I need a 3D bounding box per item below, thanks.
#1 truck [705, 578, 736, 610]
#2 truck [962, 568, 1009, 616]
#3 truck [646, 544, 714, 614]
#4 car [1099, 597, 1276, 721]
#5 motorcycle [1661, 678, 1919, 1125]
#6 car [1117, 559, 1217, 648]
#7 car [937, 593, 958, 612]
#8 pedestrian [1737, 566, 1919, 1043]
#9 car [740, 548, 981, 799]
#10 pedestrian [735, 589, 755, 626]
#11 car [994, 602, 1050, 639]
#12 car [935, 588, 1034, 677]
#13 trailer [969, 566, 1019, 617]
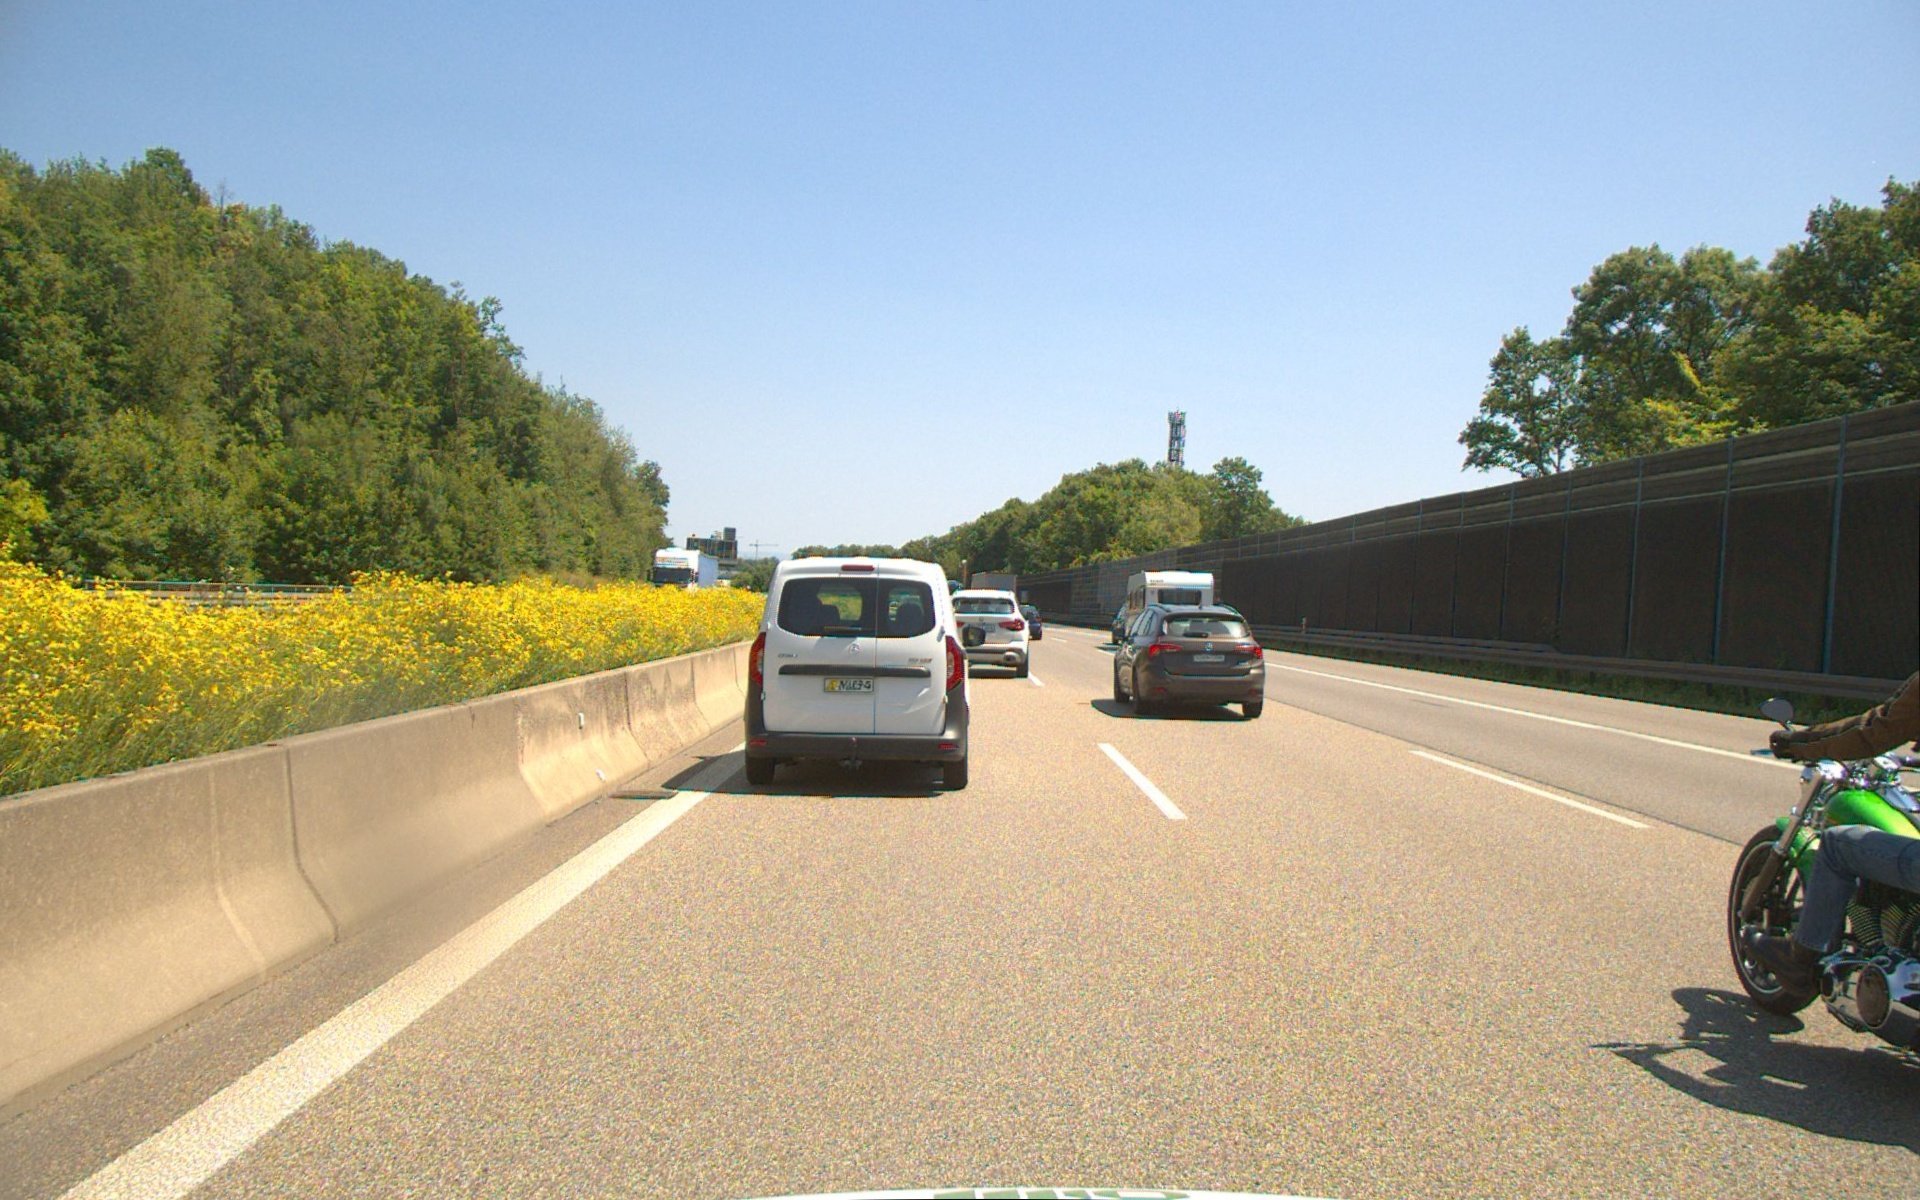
[{"bbox_3d":[-27.756,-0.699,192.003,2.681,3.535,7.311,2,0,-2],"label":"truck"},{"bbox_3d":[2.211,-0.665,147.811,3.022,4.055,9.635,1,-1,-5],"label":"truck"},{"bbox_3d":[-16.528,-1.189,98.057,2.692,3.924,8.411,2,0,-1],"label":"truck"},{"bbox_3d":[3.133,0.754,23.575,1.801,1.539,4.401,2,0,-1],"label":"car"},{"bbox_3d":[3.191,0.922,5.331,0.842,1.202,2.276,2,0,-1],"label":"motorcycle"},{"bbox_3d":[7.030,0.137,56.830,2.429,2.814,6.217,1,-1,-2],"label":"car"},{"bbox_3d":[-1.398,0.259,184.743,1.955,2.049,3.996,1,0,-5],"label":"car"},{"bbox_3d":[3.197,0.655,5.560,0.834,1.504,0.638,2,0,-1],"label":"pedestrian"},{"bbox_3d":[-0.777,0.560,14.383,1.766,1.840,3.999,1,0,-1],"label":"car"},{"bbox_3d":[-8.195,0.300,62.982,0.648,1.389,0.531,2,0,-1],"label":"pedestrian"},{"bbox_3d":[2.501,0.823,67.765,1.789,1.449,3.995,1,-1,-5],"label":"car"},{"bbox_3d":[0.449,0.620,33.571,1.833,1.636,3.878,2,0,-1],"label":"car"},{"bbox_3d":[2.815,-0.639,140.184,3.022,4.055,10.311,1,-1,-5],"label":"trailer"}]
